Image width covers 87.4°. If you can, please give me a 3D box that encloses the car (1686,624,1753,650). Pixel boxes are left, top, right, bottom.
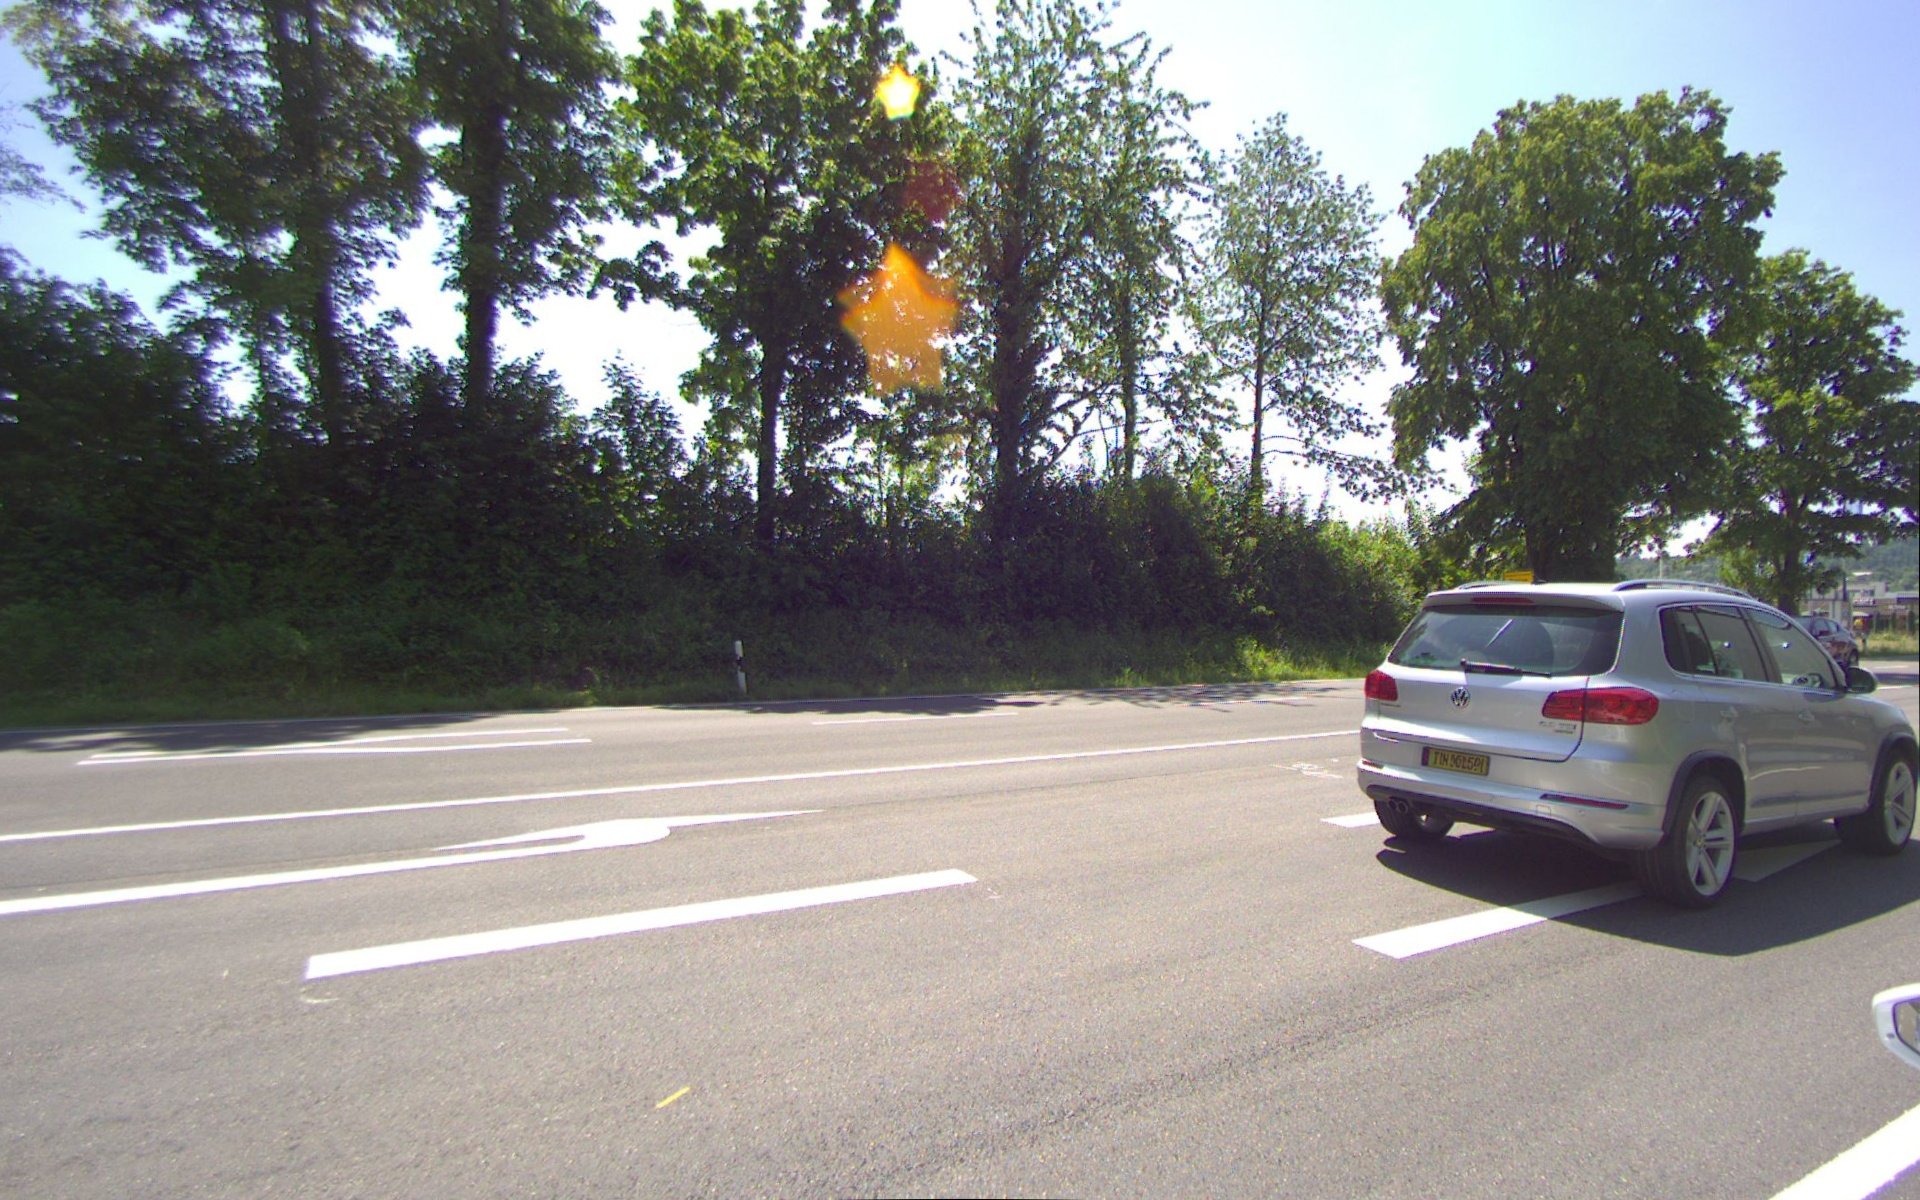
[{"bbox_3d":[53.463,2.565,70.812,1.959,1.673,4.002,1,0,7],"label":"car"}]

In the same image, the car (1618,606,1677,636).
[{"bbox_3d":[49.178,1.449,71.936,1.959,2.040,4.002,1,0,10],"label":"car"}]

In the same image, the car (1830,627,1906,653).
[{"bbox_3d":[61.288,2.672,67.876,1.803,1.639,4.002,1,0,7],"label":"car"}]

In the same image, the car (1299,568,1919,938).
[{"bbox_3d":[4.360,0.714,6.441,4.241,1.692,1.796,1,1,-30],"label":"car"}]

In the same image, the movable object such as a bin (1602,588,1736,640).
[{"bbox_3d":[47.080,0.936,66.891,6.654,3.342,3.054,0,0,10],"label":"movable object such as a bin"}]

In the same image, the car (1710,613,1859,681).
[{"bbox_3d":[20.411,1.114,24.844,3.726,1.529,1.891,1,0,-34],"label":"car"}]
